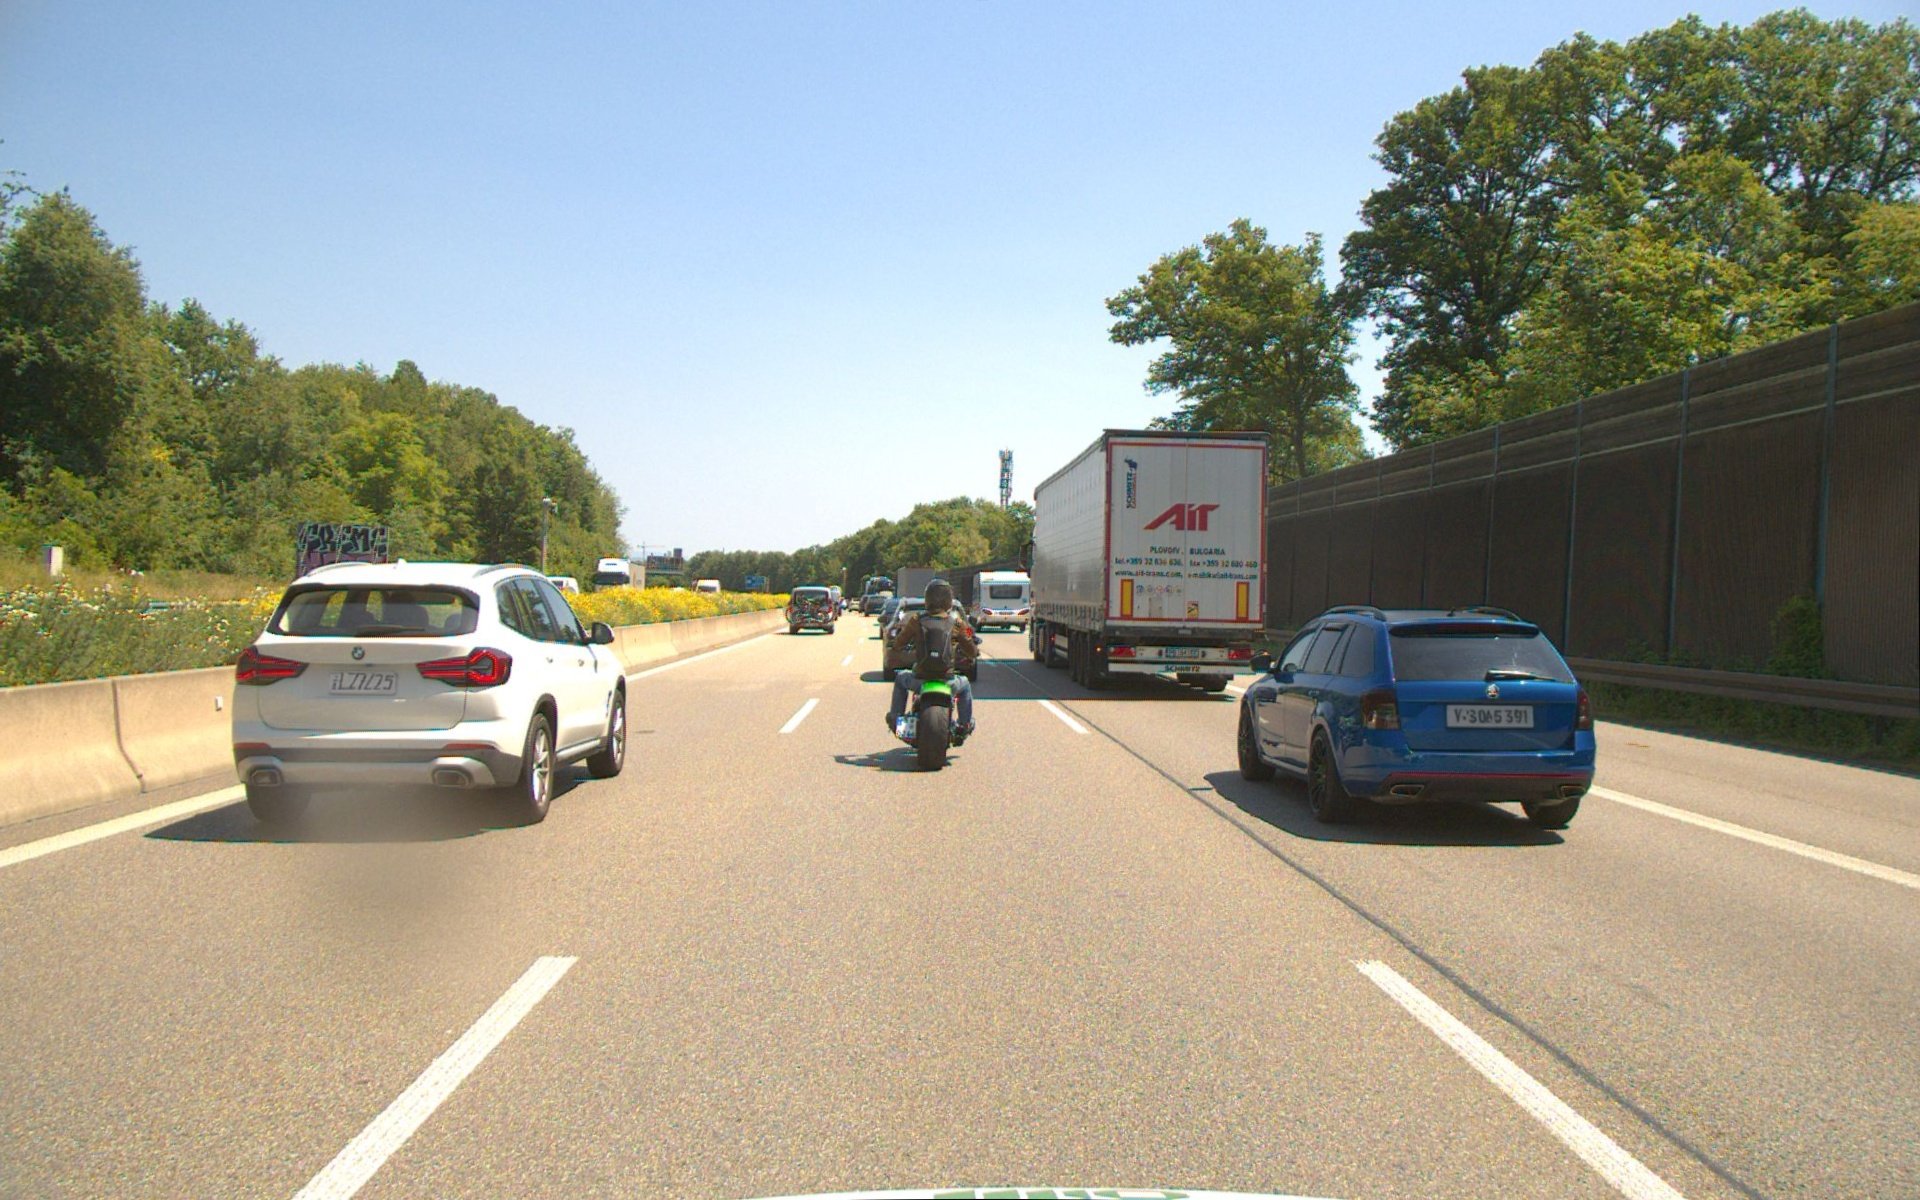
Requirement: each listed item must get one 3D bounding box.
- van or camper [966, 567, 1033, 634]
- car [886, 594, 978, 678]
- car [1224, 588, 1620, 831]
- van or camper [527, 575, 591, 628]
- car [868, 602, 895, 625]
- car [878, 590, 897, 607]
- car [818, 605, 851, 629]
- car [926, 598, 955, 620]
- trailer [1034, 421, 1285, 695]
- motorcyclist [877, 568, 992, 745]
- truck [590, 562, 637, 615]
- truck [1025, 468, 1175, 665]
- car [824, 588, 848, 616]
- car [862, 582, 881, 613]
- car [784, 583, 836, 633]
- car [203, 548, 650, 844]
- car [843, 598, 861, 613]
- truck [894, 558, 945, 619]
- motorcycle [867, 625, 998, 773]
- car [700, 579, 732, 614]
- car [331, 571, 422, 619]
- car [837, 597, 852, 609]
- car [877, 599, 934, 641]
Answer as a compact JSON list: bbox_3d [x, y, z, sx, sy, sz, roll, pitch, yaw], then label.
[{"bbox_3d":[1.710,0.089,74.239,2.631,2.862,6.800,1,-1,-2],"label":"van or camper"},{"bbox_3d":[-0.557,0.679,31.260,1.629,1.478,3.867,1,-1,-2],"label":"car"},{"bbox_3d":[3.260,0.727,12.605,1.617,1.509,4.479,1,-1,-2],"label":"car"},{"bbox_3d":[-16.283,0.059,67.289,1.658,2.048,4.211,1,0,-1],"label":"van or camper"},{"bbox_3d":[-5.922,1.061,124.340,1.954,1.669,3.997,1,-1,-3],"label":"car"},{"bbox_3d":[-8.520,-0.197,194.434,2.067,1.909,3.995,1,-1,-6],"label":"car"},{"bbox_3d":[-7.811,1.083,103.284,1.954,1.411,3.997,1,-1,-4],"label":"car"},{"bbox_3d":[-1.487,0.705,125.156,1.954,1.601,3.997,1,-1,-4],"label":"car"},{"bbox_3d":[3.327,-0.630,31.834,2.827,4.109,13.791,1,0,-1],"label":"trailer"},{"bbox_3d":[-0.200,0.500,15.098,0.881,1.501,1.873,0,-1,4],"label":"motorcyclist"},{"bbox_3d":[-28.657,-0.892,137.010,2.906,4.179,6.082,1,-1,-4],"label":"truck"},{"bbox_3d":[3.145,-0.729,38.705,2.827,4.218,5.984,1,0,-1],"label":"truck"},{"bbox_3d":[-9.303,0.176,124.652,1.756,2.049,3.639,1,-1,-4],"label":"car"},{"bbox_3d":[-11.534,-0.335,214.183,2.092,3.929,8.133,1,0,-5],"label":"car"},{"bbox_3d":[-5.944,0.353,65.873,1.861,1.906,4.409,1,-1,-3],"label":"car"},{"bbox_3d":[-3.585,0.571,12.179,1.826,1.724,4.954,0,0,-2],"label":"car"},{"bbox_3d":[-11.684,0.608,179.210,1.795,1.522,3.742,1,-1,-2],"label":"car"},{"bbox_3d":[-3.595,-0.888,144.085,3.729,5.047,8.939,1,-1,-6],"label":"truck"},{"bbox_3d":[-0.201,0.844,15.193,0.944,1.168,2.813,1,0,4],"label":"motorcycle"},{"bbox_3d":[-21.499,-0.291,145.772,2.027,2.947,7.458,1,0,-3],"label":"car"},{"bbox_3d":[-19.687,-0.128,55.949,1.740,1.517,3.998,1,-1,-2],"label":"car"},{"bbox_3d":[-15.372,0.401,219.958,1.797,1.522,3.739,1,-1,-6],"label":"car"},{"bbox_3d":[-1.997,0.729,59.807,1.954,1.455,3.845,1,-1,-3],"label":"car"}]
